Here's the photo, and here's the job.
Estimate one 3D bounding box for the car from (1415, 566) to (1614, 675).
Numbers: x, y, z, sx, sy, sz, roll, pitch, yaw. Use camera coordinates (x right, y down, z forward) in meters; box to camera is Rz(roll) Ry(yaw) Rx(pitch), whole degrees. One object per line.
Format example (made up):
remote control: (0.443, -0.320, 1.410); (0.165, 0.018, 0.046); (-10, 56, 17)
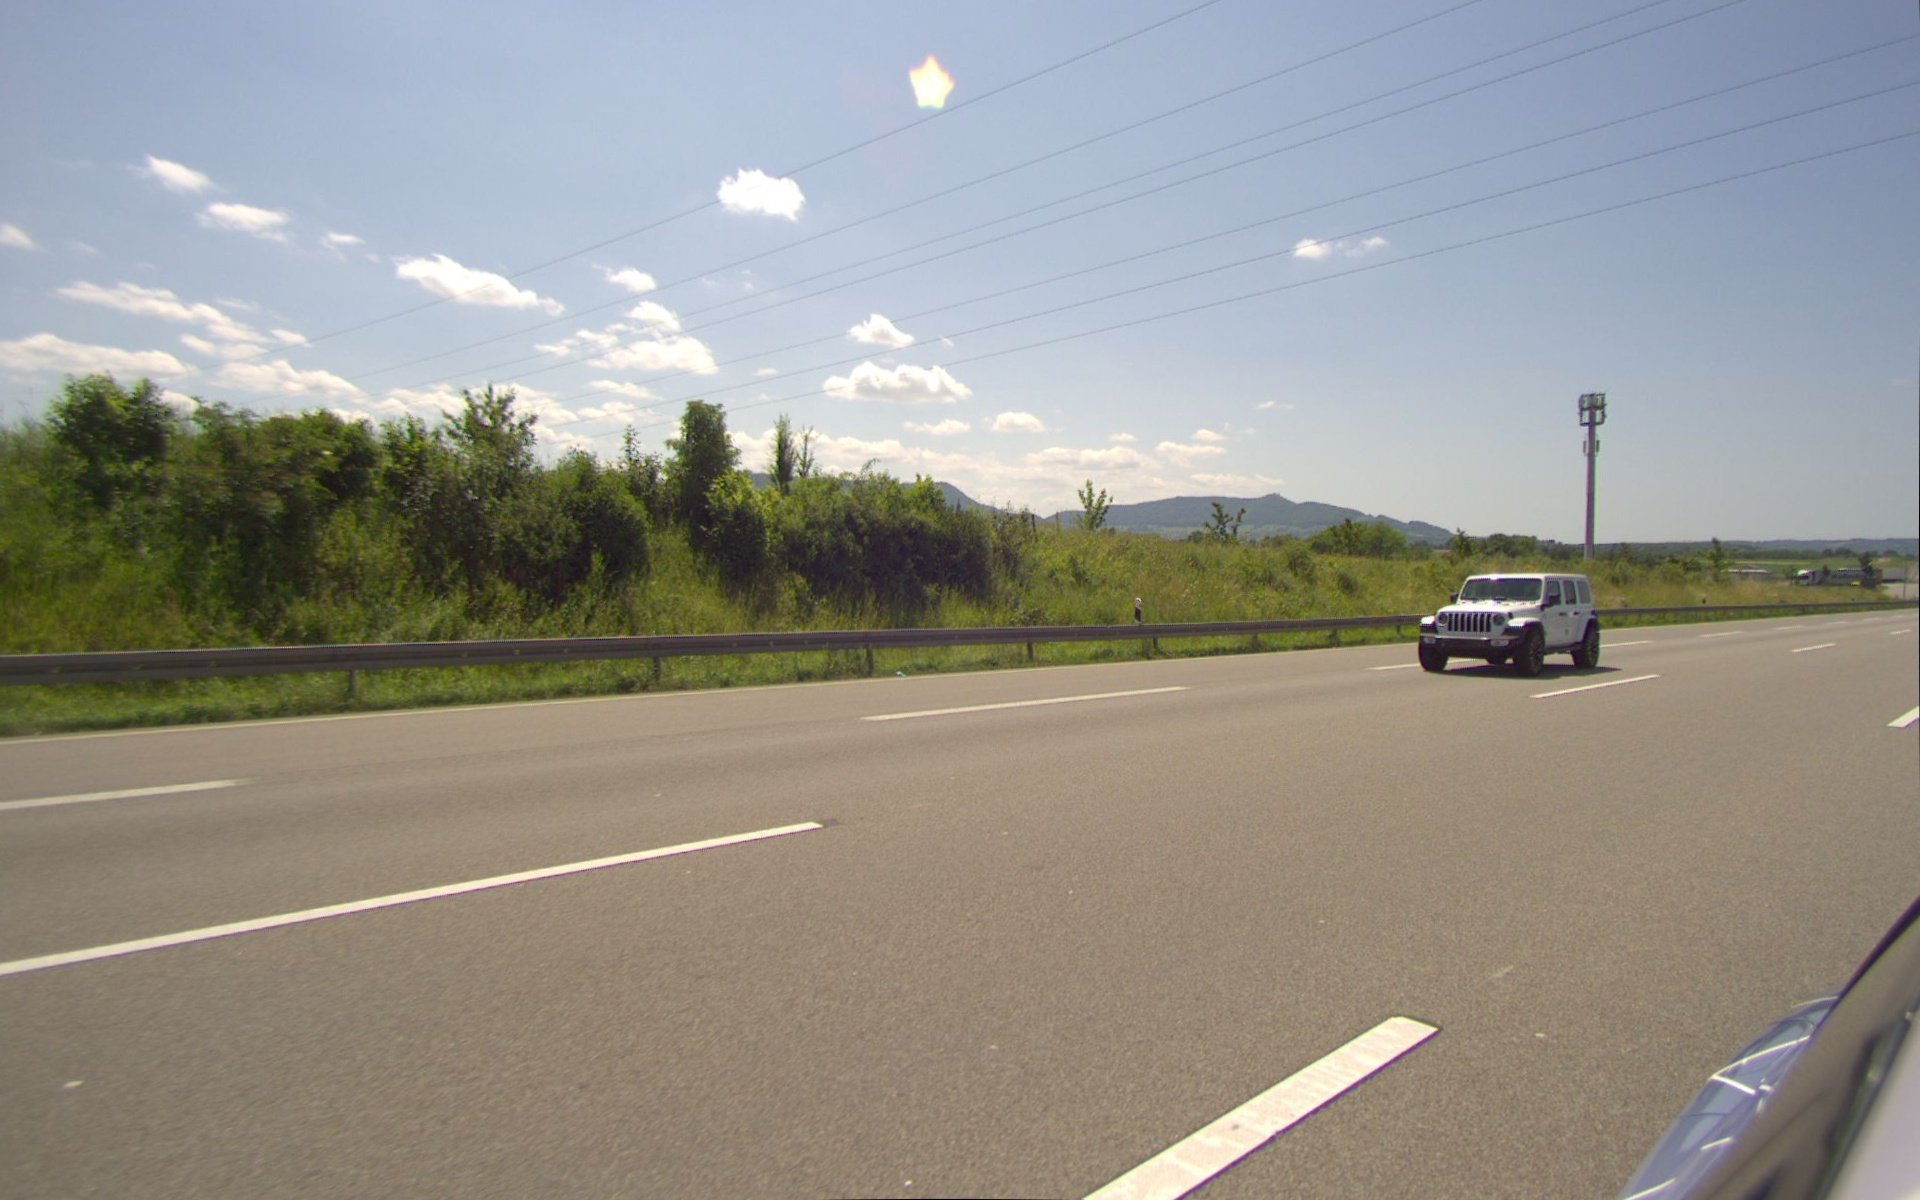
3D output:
car: (10.605, 0.324, 19.253); (4.177, 1.827, 2.037); (-1, 0, -41)
